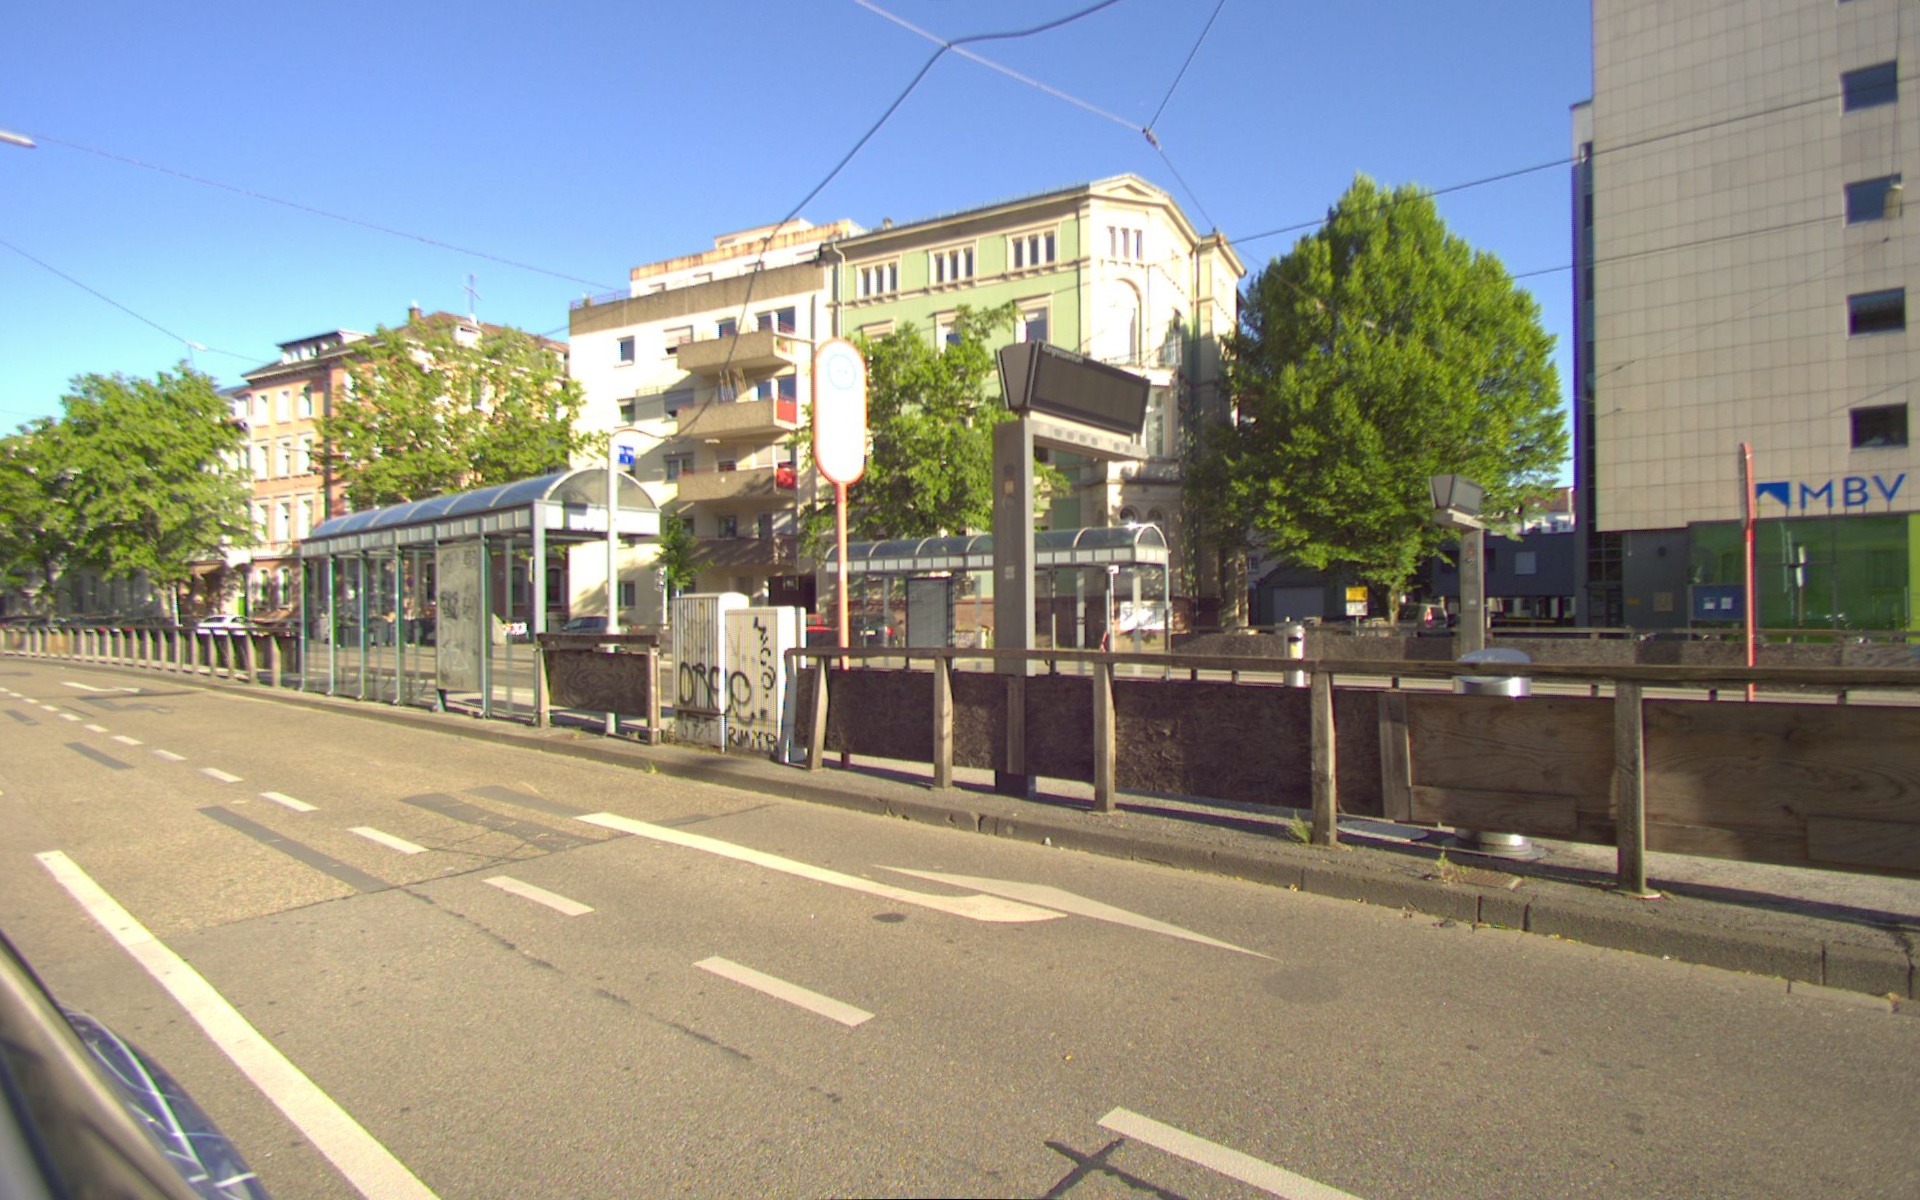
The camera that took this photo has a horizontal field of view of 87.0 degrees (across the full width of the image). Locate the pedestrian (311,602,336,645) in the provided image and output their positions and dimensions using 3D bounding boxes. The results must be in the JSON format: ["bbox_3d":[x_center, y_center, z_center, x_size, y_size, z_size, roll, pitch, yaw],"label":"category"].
[{"bbox_3d":[-33.206,1.210,52.787,0.753,2.224,0.804,-1,-2,30],"label":"pedestrian"}]

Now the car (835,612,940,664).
[{"bbox_3d":[-2.341,1.217,33.480,1.754,1.594,3.965,-1,-1,26],"label":"car"}]

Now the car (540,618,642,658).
[{"bbox_3d":[-14.070,1.418,38.549,3.725,1.438,1.637,-1,-1,29],"label":"car"}]

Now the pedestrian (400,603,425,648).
[{"bbox_3d":[-27.151,1.273,50.206,0.753,2.224,0.804,-1,-2,30],"label":"pedestrian"}]

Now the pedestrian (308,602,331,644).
[{"bbox_3d":[-34.096,1.221,53.837,0.755,2.224,0.803,-1,-2,36],"label":"pedestrian"}]

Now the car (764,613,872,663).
[{"bbox_3d":[-4.775,1.248,34.528,1.754,1.594,3.965,-1,-1,26],"label":"car"}]

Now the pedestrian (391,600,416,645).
[{"bbox_3d":[-27.902,1.141,50.742,0.753,2.224,0.804,-1,-2,30],"label":"pedestrian"}]

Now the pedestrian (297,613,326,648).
[{"bbox_3d":[-32.130,1.517,50.167,1.016,1.733,0.846,-1,-2,32],"label":"pedestrian"}]

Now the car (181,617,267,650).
[{"bbox_3d":[-39.433,1.775,54.338,1.825,1.721,4.130,0,-1,-5],"label":"car"}]

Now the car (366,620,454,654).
[{"bbox_3d":[-23.757,1.585,43.680,3.986,1.407,1.592,-1,-2,32],"label":"car"}]

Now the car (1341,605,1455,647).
[{"bbox_3d":[15.749,0.895,36.495,1.544,1.423,3.430,-1,0,-38],"label":"car"}]
